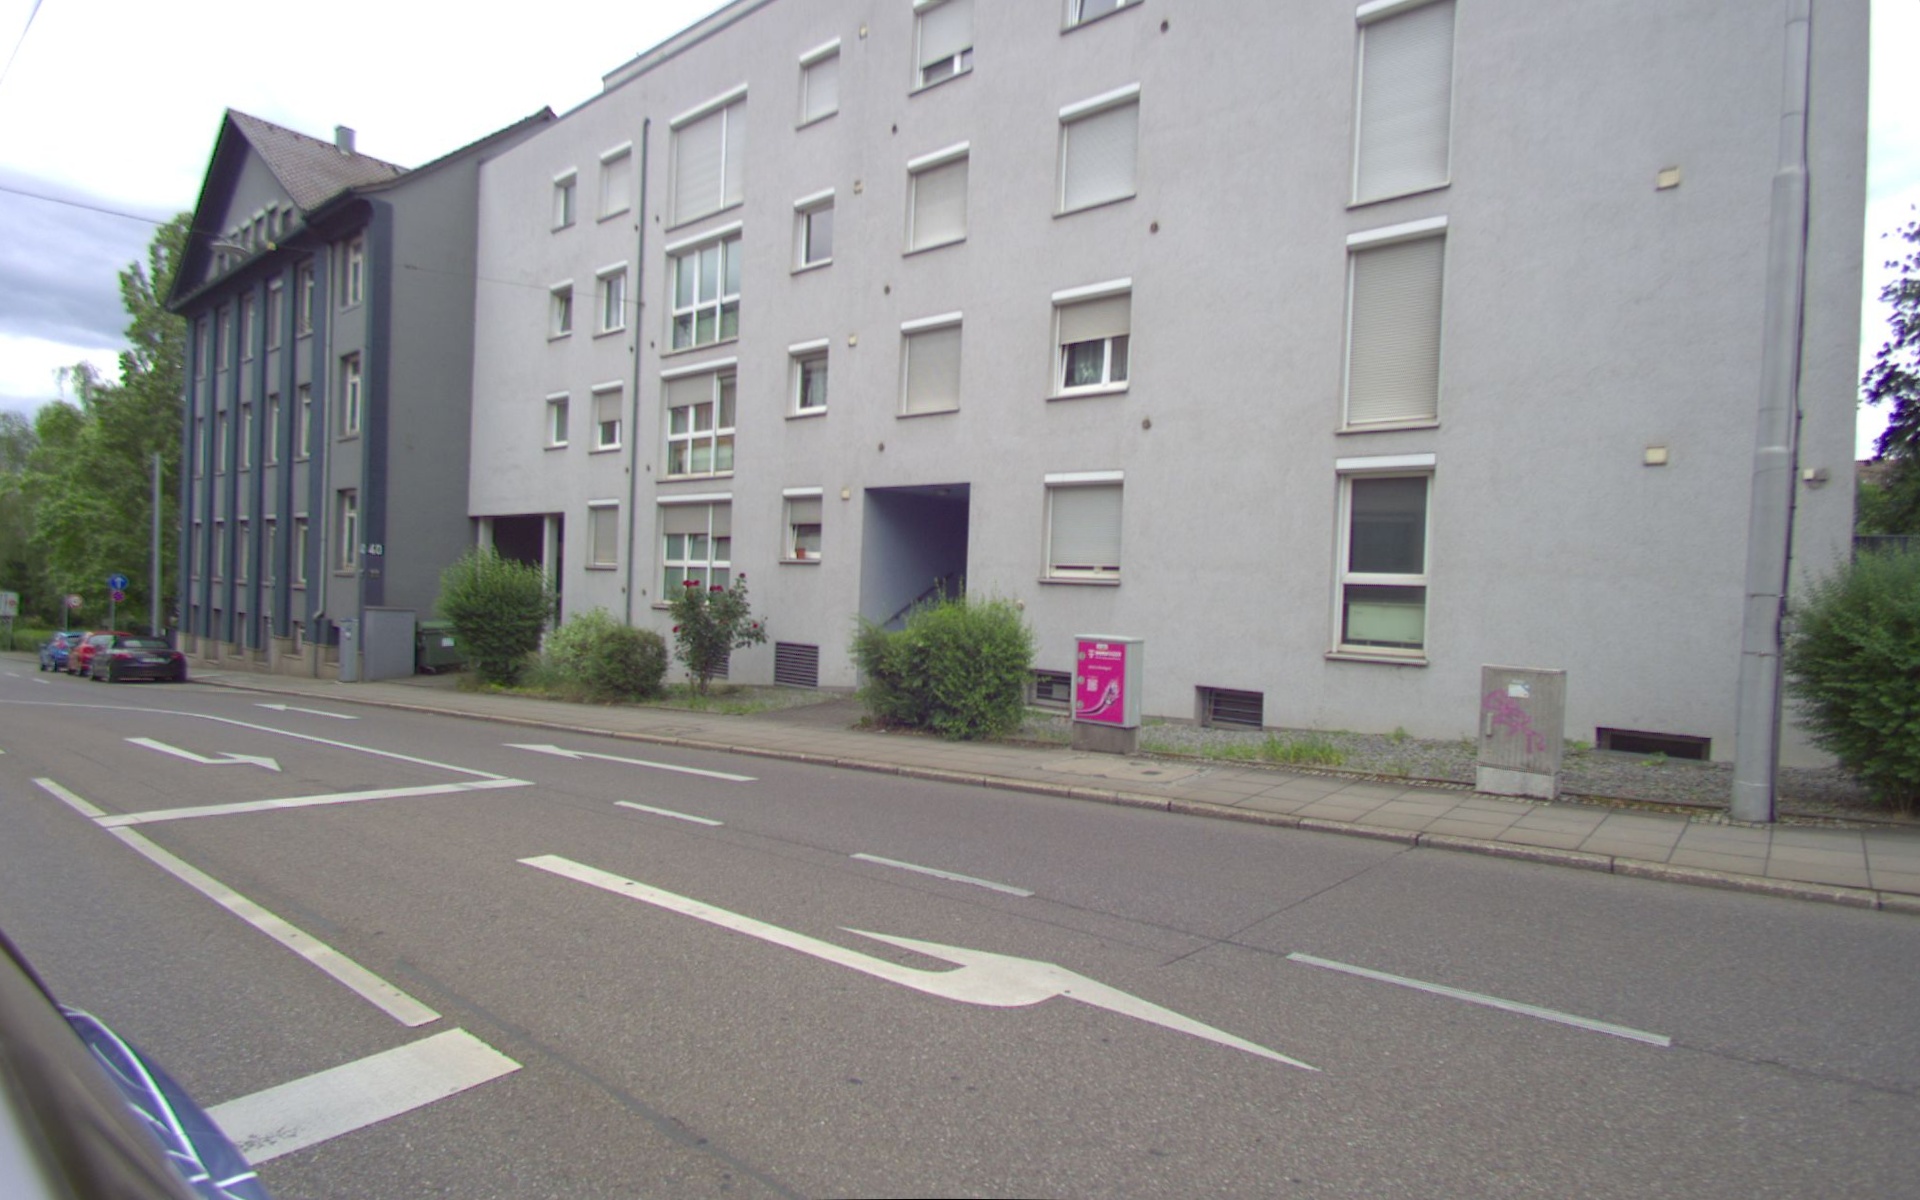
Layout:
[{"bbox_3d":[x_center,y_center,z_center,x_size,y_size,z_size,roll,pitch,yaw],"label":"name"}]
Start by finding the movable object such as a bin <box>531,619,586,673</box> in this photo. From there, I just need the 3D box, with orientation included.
[{"bbox_3d":[-11.174,1.260,28.176,1.078,1.427,1.026,-1,-1,41],"label":"movable object such as a bin"}]

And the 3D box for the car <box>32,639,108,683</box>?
[{"bbox_3d":[-32.860,2.216,37.331,3.727,1.460,1.623,-1,-1,41],"label":"car"}]

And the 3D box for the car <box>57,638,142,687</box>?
[{"bbox_3d":[-28.621,2.028,33.637,3.727,1.460,1.623,-1,-1,41],"label":"car"}]

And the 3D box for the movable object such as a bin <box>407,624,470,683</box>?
[{"bbox_3d":[-14.082,1.431,27.335,1.039,1.518,1.213,-1,-1,41],"label":"movable object such as a bin"}]

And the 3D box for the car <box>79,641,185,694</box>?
[{"bbox_3d":[-24.208,1.913,29.563,3.727,1.403,1.778,-1,-2,41],"label":"car"}]
